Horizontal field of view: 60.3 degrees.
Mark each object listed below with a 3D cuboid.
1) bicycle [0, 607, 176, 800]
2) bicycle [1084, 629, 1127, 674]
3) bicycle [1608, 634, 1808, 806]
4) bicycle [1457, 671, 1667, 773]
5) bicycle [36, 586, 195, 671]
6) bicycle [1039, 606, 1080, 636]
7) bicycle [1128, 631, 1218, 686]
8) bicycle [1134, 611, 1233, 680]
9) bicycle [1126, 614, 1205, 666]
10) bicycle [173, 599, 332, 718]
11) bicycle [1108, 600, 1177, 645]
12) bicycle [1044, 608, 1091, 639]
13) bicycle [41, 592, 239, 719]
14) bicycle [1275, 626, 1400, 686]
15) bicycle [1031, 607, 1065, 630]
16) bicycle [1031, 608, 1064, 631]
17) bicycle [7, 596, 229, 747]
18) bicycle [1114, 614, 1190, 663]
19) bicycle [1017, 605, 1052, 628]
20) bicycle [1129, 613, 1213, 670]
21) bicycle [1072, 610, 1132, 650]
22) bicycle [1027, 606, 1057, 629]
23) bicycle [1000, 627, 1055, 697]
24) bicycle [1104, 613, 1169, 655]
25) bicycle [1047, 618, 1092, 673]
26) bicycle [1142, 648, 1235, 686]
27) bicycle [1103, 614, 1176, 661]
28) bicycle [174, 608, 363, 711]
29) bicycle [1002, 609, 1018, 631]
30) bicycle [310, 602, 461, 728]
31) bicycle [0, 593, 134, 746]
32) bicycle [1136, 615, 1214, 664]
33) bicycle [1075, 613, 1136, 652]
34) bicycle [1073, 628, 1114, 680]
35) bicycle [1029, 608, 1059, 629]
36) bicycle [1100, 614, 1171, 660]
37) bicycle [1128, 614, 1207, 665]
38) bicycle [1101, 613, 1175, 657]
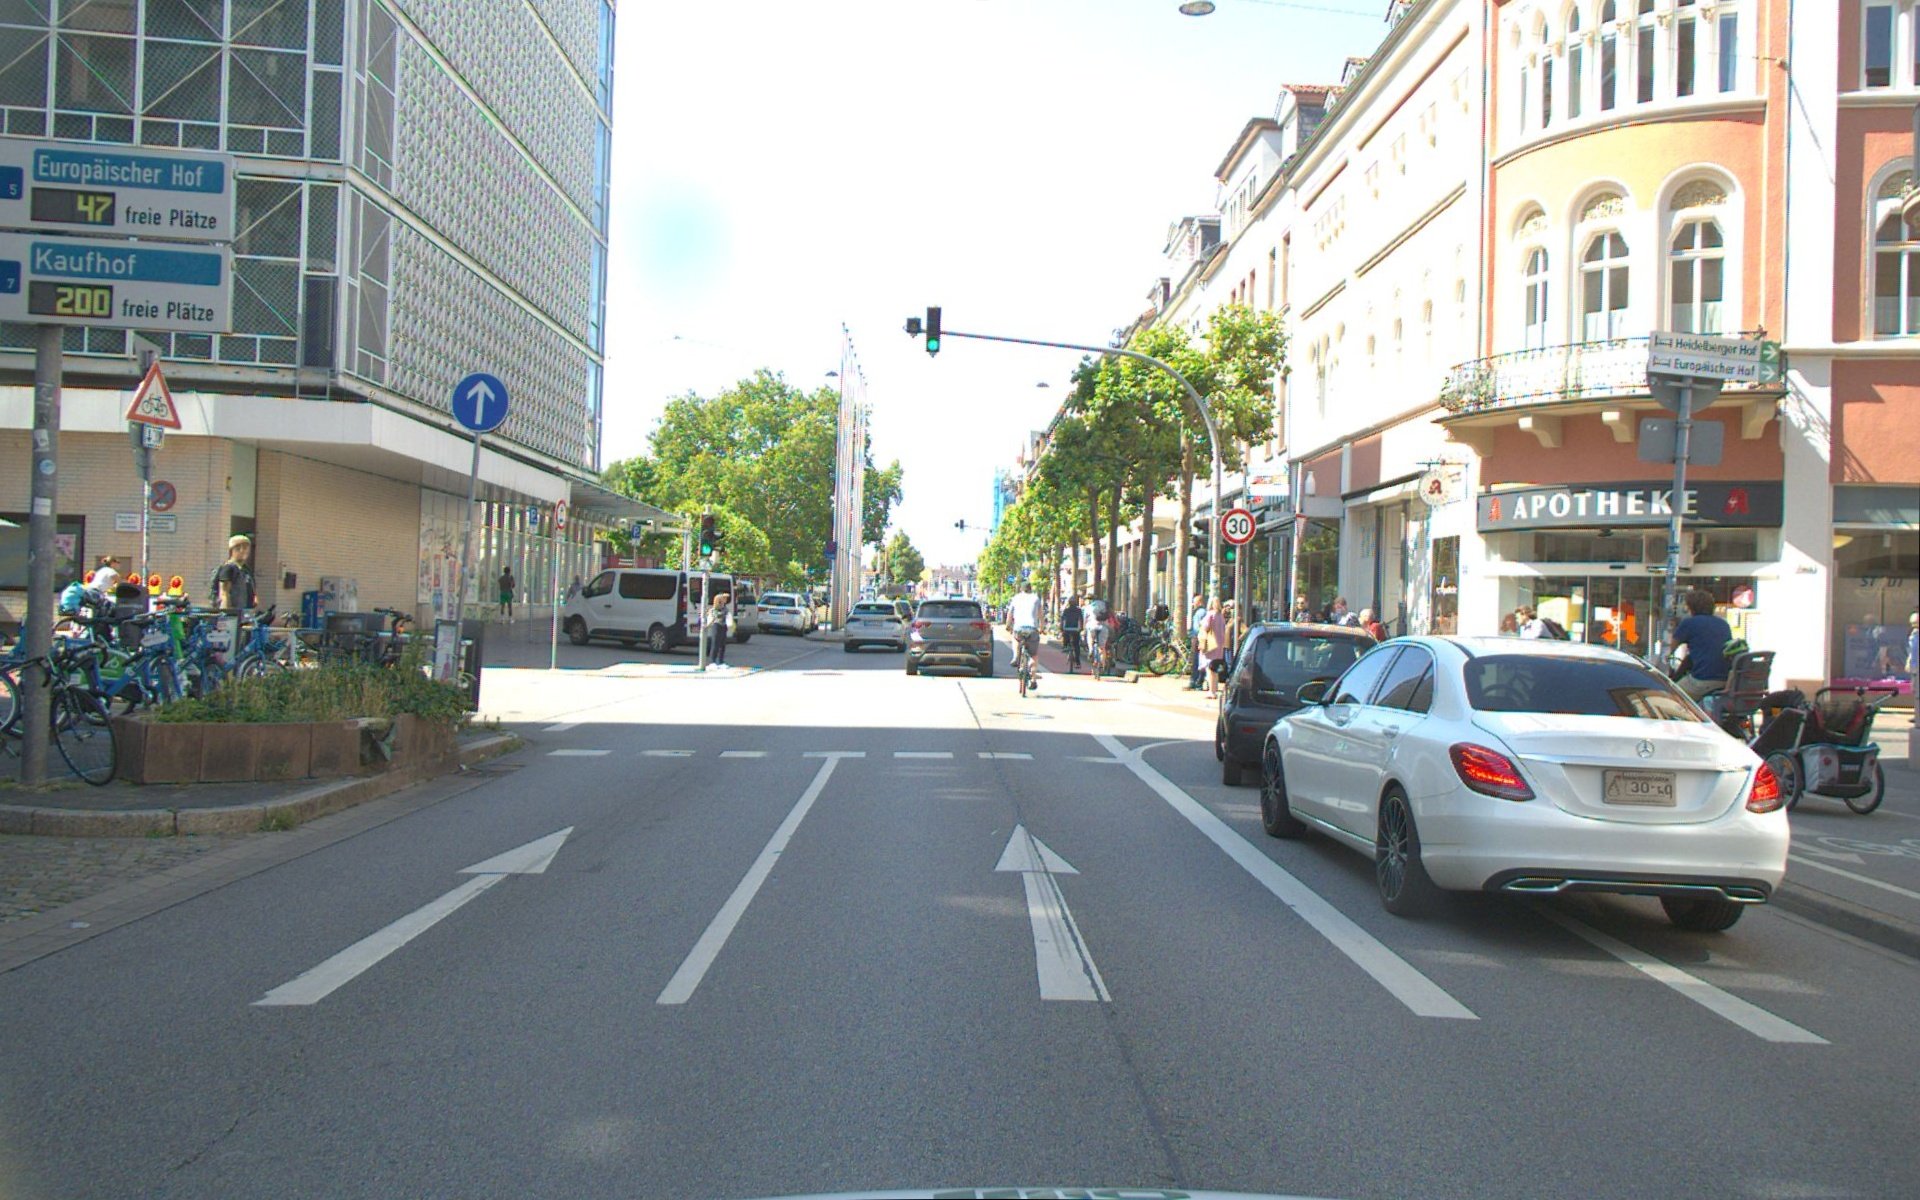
[{"bbox_3d":[-6.283,0.628,10.734,2.097,1.146,0.485,4,1,0],"label":"bicycle"},{"bbox_3d":[3.238,1.132,36.971,0.588,0.942,2.085,3,-1,-4],"label":"bicycle"},{"bbox_3d":[6.574,1.007,14.698,0.717,1.291,2.282,3,1,1],"label":"bicycle"},{"bbox_3d":[7.857,1.581,21.711,2.511,1.146,0.628,3,-2,16],"label":"bicycle"},{"bbox_3d":[-13.474,0.429,26.411,2.187,1.289,0.727,-1,1,-36],"label":"bicycle"},{"bbox_3d":[4.537,0.953,75.163,1.801,1.206,0.670,3,-1,4],"label":"bicycle"},{"bbox_3d":[4.691,1.303,36.551,1.814,0.401,1.024,10,-36,4],"label":"bicycle"},{"bbox_3d":[4.558,0.916,33.820,1.822,1.209,0.713,6,3,38],"label":"bicycle"},{"bbox_3d":[4.793,0.928,38.649,1.801,1.147,0.667,1,-1,7],"label":"bicycle"},{"bbox_3d":[-7.581,0.604,17.687,2.023,1.189,0.603,1,-1,36],"label":"bicycle"},{"bbox_3d":[4.927,0.599,44.601,1.801,1.146,0.680,2,0,6],"label":"bicycle"},{"bbox_3d":[4.391,0.969,67.398,1.801,1.146,0.498,3,-1,10],"label":"bicycle"},{"bbox_3d":[-8.203,0.535,16.536,2.017,1.146,0.646,2,0,26],"label":"bicycle"},{"bbox_3d":[5.736,0.850,25.191,1.784,0.859,0.501,1,0,0],"label":"bicycle"},{"bbox_3d":[4.514,0.955,84.595,1.692,1.128,0.402,2,-1,2],"label":"bicycle"},{"bbox_3d":[4.517,1.004,85.428,1.692,1.128,0.477,2,0,2],"label":"bicycle"},{"bbox_3d":[-7.439,0.606,14.588,2.017,1.146,0.561,4,1,24],"label":"bicycle"},{"bbox_3d":[4.755,0.951,41.011,1.802,1.147,0.643,2,-1,1],"label":"bicycle"},{"bbox_3d":[4.417,0.963,97.874,1.904,1.279,0.701,2,-1,-20],"label":"bicycle"},{"bbox_3d":[4.763,0.940,37.354,1.801,1.146,0.346,4,1,15],"label":"bicycle"},{"bbox_3d":[4.622,0.971,53.855,1.807,1.146,0.631,4,-1,-11],"label":"bicycle"},{"bbox_3d":[4.556,0.964,91.737,1.615,1.222,0.474,2,0,2],"label":"bicycle"},{"bbox_3d":[1.069,0.982,26.708,0.758,1.023,2.329,2,0,0],"label":"bicycle"},{"bbox_3d":[5.055,0.968,47.503,1.802,1.147,0.448,1,-1,2],"label":"bicycle"},{"bbox_3d":[2.437,1.004,37.014,0.684,1.146,2.080,3,0,-4],"label":"bicycle"},{"bbox_3d":[4.922,1.450,35.751,1.123,0.441,1.841,-9,-4,-26],"label":"bicycle"},{"bbox_3d":[4.636,0.967,42.869,1.802,1.147,0.666,2,-1,1],"label":"bicycle"},{"bbox_3d":[-8.351,0.706,20.018,1.945,1.146,0.800,2,0,6],"label":"bicycle"},{"bbox_3d":[2.404,0.954,79.766,0.634,1.015,2.030,2,0,-1],"label":"bicycle"},{"bbox_3d":[-6.011,0.657,17.244,2.030,1.193,0.601,2,-1,45],"label":"bicycle"},{"bbox_3d":[-8.089,0.539,14.033,2.276,1.146,0.561,4,0,24],"label":"bicycle"},{"bbox_3d":[5.251,0.955,40.411,1.802,1.147,0.666,2,-1,1],"label":"bicycle"},{"bbox_3d":[4.534,1.005,51.640,1.802,1.112,0.564,3,-1,-1],"label":"bicycle"},{"bbox_3d":[2.717,1.093,33.800,0.617,0.997,2.088,2,-1,-1],"label":"bicycle"},{"bbox_3d":[4.570,1.016,90.214,1.615,1.114,0.607,2,0,2],"label":"bicycle"},{"bbox_3d":[4.625,0.971,43.563,1.802,1.147,0.530,2,-1,1],"label":"bicycle"},{"bbox_3d":[4.941,0.938,39.438,1.802,1.147,0.666,2,-1,1],"label":"bicycle"},{"bbox_3d":[4.955,0.972,45.987,1.943,1.147,0.762,1,-1,12],"label":"bicycle"}]
